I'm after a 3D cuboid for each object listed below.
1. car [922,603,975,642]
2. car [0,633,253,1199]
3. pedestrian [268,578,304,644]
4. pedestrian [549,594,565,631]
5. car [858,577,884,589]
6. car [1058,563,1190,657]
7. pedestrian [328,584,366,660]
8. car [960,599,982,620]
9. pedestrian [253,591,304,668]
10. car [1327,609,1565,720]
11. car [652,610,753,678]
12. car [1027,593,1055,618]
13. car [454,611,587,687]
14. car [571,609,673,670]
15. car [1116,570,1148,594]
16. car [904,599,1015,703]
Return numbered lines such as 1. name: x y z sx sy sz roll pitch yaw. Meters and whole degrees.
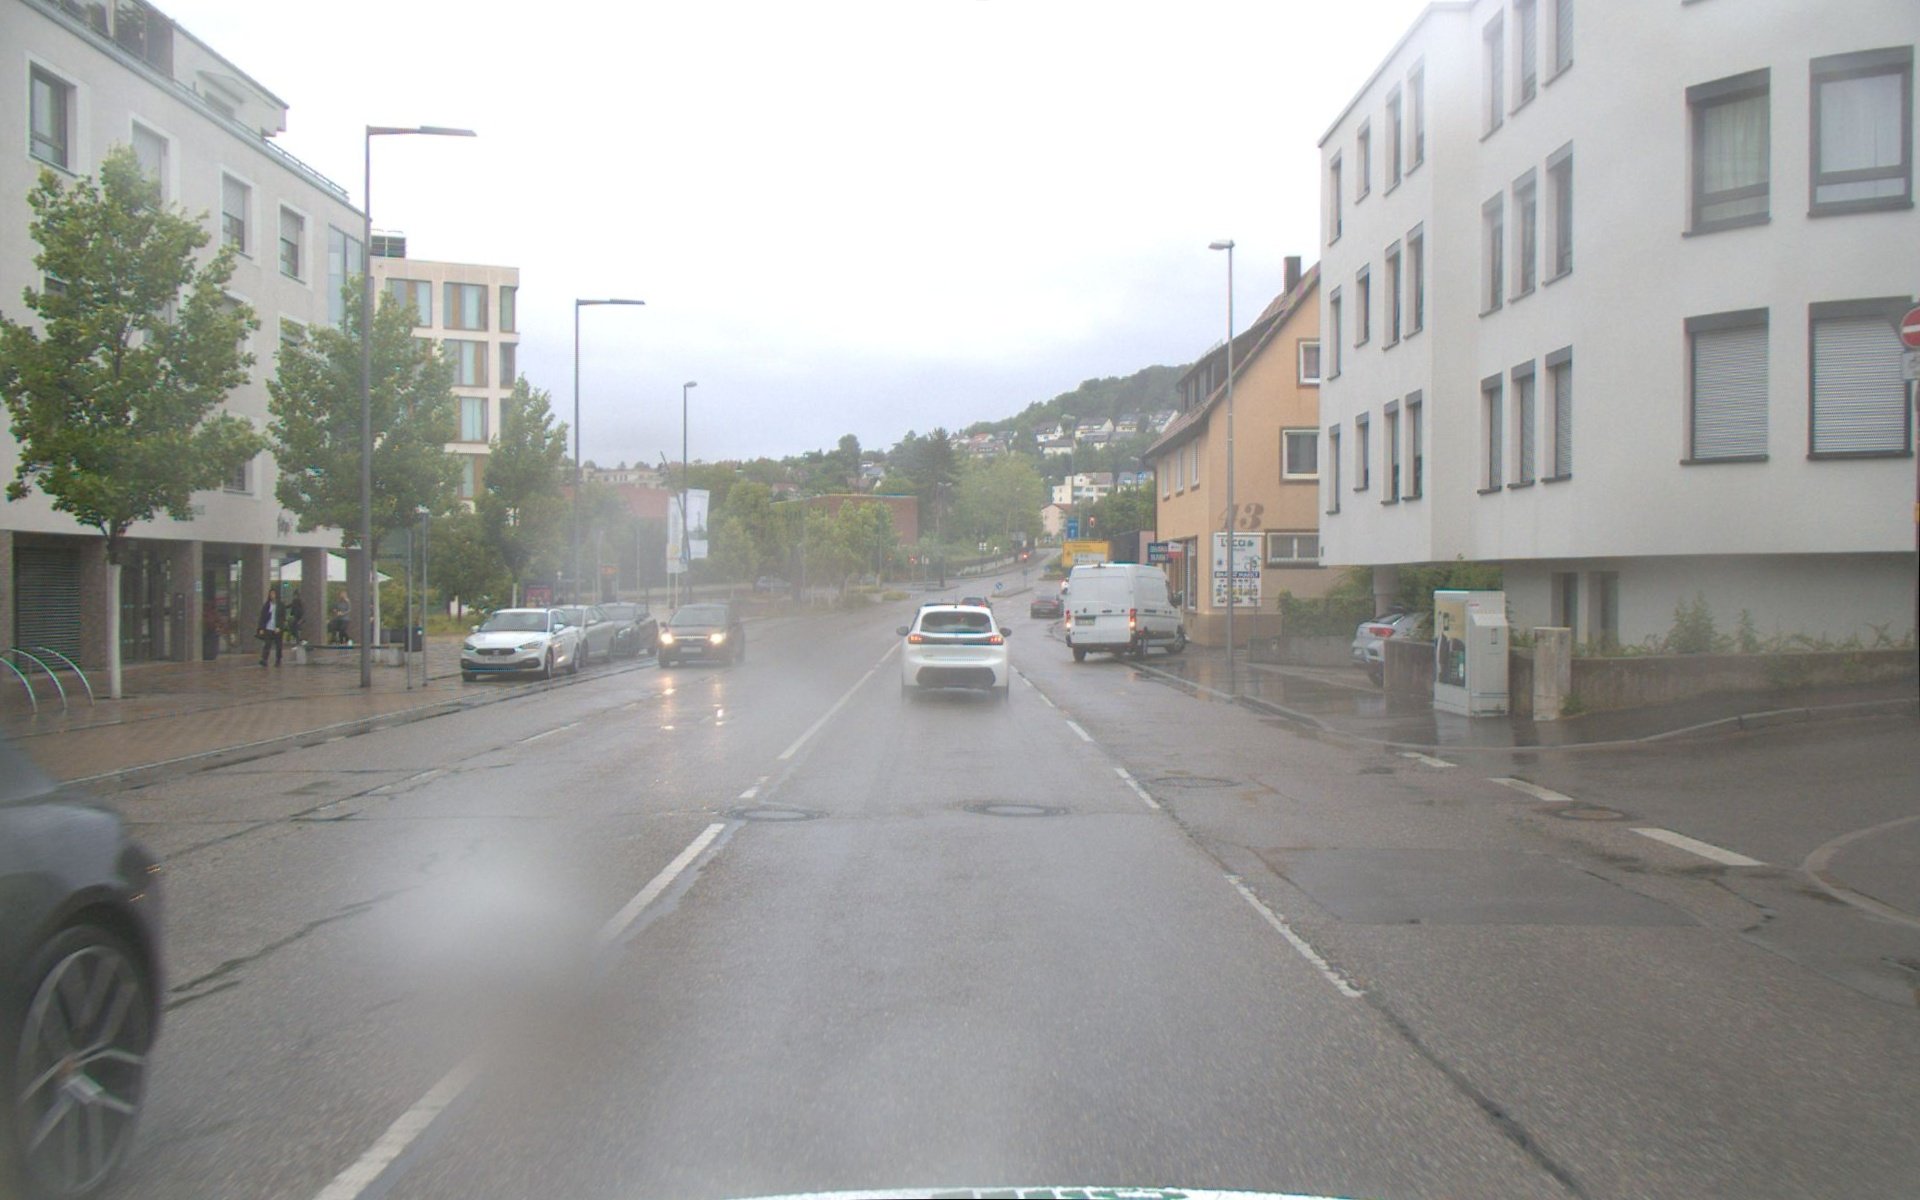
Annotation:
1. car: -0.399 0.800 59.816 1.705 1.318 3.335 -1 0 3
2. car: -2.927 0.779 2.640 1.732 1.438 4.524 -1 -1 -1
3. pedestrian: -21.017 0.353 51.597 0.833 2.049 0.935 -1 -2 -7
4. pedestrian: -19.587 0.589 80.393 0.769 1.776 0.671 0 -2 -15
5. car: -9.149 -1.747 170.580 2.390 1.177 1.359 0 -1 -27
6. car: 4.683 0.331 46.141 2.243 2.424 6.627 -1 -2 18
7. pedestrian: -17.945 0.645 48.438 0.731 2.183 0.771 0 -2 7
8. car: 0.635 0.555 97.283 1.188 1.176 2.269 0 -1 -1
9. pedestrian: -15.914 0.689 38.636 0.792 1.769 1.003 -1 -2 -1
10. car: 8.906 1.156 30.500 3.716 1.556 1.820 6 0 -2
11. car: -6.309 1.083 40.902 1.842 1.550 4.183 -1 -1 0
12. car: 5.222 0.326 107.336 1.698 1.411 3.354 1 3 1
13. car: -9.149 1.020 34.791 1.759 1.488 4.476 0 -1 -2
14. car: -9.076 1.074 44.690 1.656 1.536 4.578 -1 -1 2
15. car: 11.695 -1.242 112.179 1.693 1.523 4.485 -1 1 11
16. car: -0.048 0.834 26.674 1.656 1.546 3.931 0 -2 -1
